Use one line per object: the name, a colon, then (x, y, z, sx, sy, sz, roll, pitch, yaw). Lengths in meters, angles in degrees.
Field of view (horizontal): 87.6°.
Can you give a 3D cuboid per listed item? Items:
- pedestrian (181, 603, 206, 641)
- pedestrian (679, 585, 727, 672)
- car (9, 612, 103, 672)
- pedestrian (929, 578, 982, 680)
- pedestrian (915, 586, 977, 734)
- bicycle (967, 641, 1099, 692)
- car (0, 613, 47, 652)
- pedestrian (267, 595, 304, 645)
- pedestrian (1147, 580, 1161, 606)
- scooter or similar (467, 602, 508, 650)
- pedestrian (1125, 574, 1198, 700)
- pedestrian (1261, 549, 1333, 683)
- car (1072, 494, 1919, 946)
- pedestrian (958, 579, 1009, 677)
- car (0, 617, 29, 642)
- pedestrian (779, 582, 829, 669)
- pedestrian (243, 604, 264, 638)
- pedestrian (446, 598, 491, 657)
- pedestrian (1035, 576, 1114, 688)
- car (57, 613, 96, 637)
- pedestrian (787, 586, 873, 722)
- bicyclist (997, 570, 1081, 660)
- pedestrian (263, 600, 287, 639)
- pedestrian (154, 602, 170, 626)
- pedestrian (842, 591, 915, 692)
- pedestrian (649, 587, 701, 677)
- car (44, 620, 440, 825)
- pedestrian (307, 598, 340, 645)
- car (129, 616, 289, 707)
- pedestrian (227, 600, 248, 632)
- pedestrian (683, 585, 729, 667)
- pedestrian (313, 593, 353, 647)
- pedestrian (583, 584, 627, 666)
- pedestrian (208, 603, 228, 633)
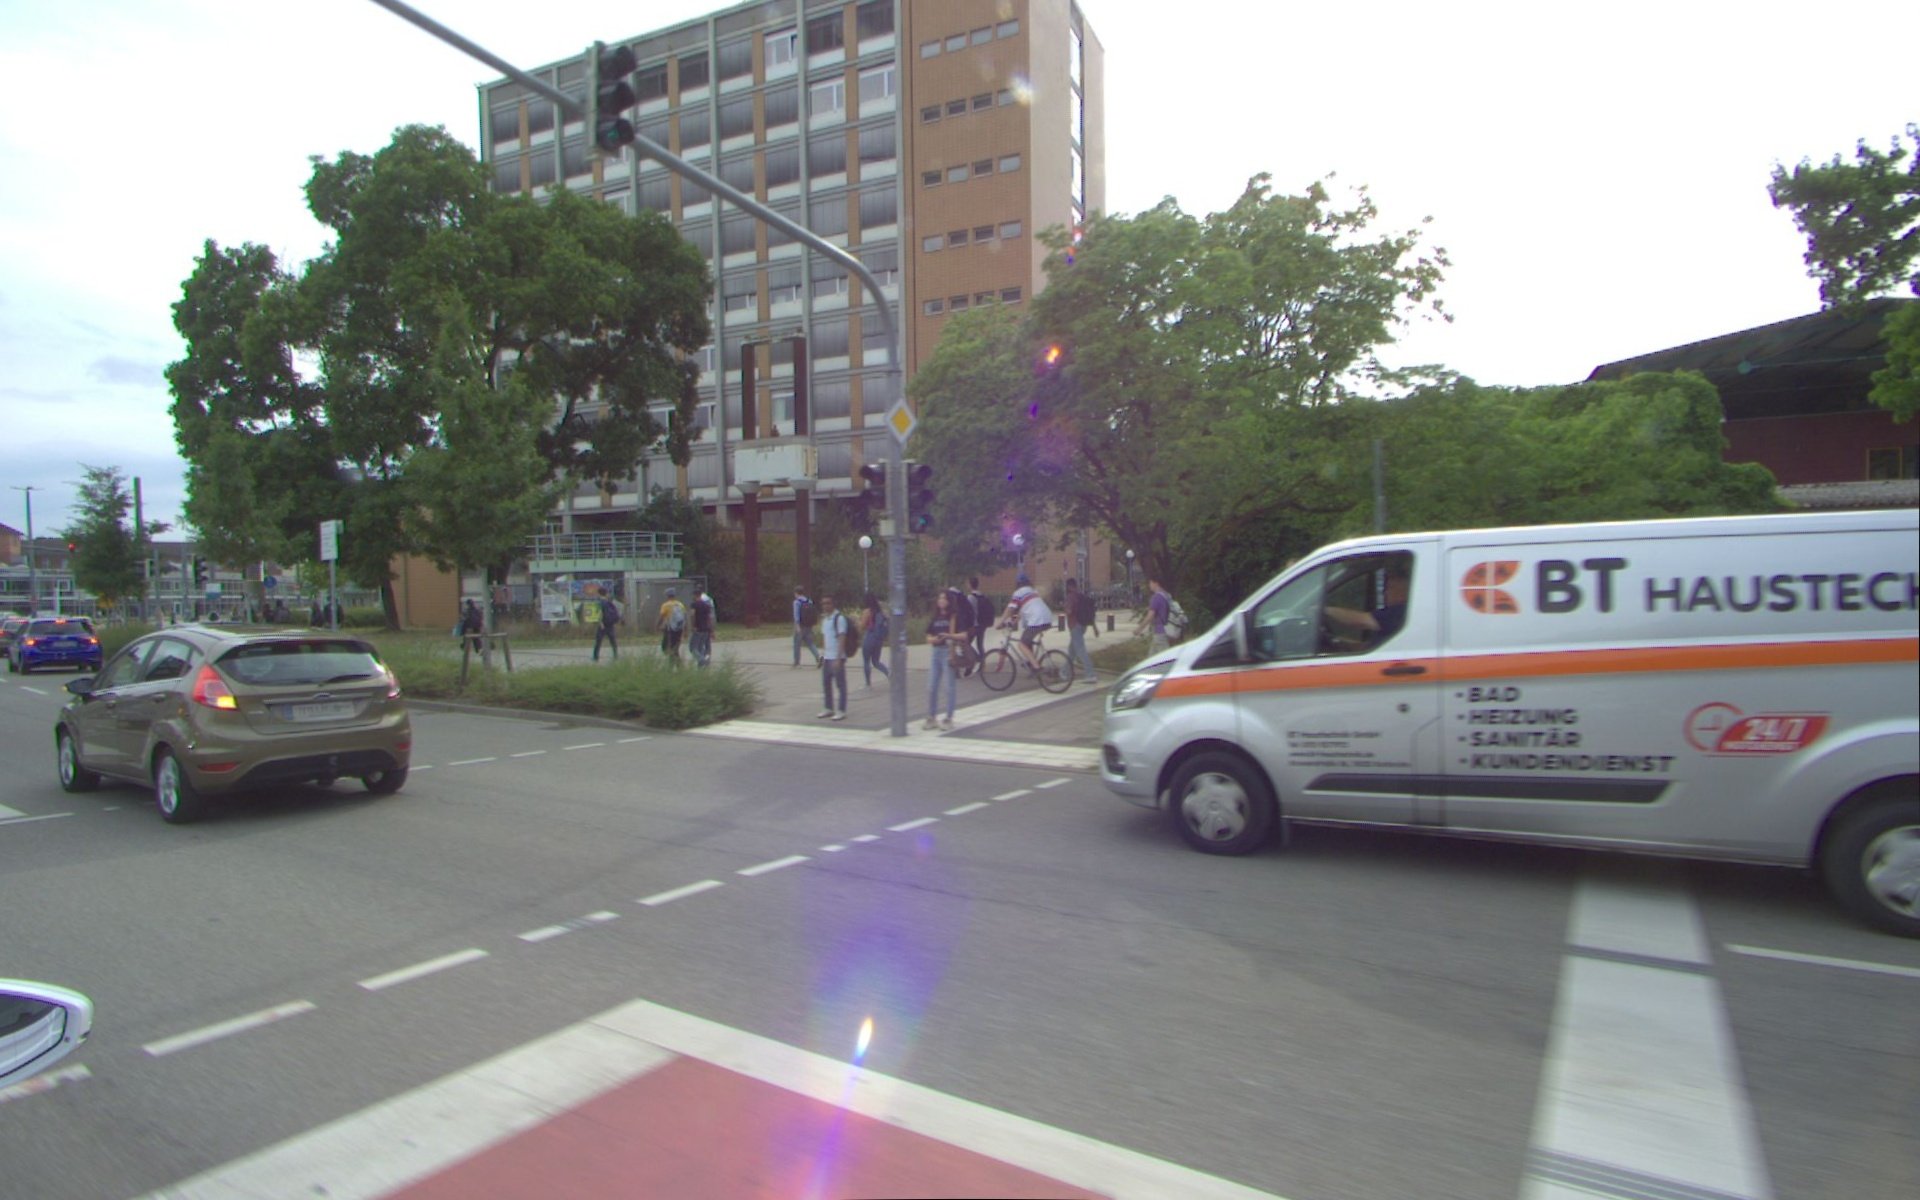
pedestrian: (-33.405, 0.963, 43.647, 0.770, 1.595, 0.806, -3, 2, -35)
pedestrian: (-5.193, 0.574, 20.246, 0.698, 1.733, 0.637, 0, -1, 32)
car: (-25.343, 1.148, 28.073, 1.845, 1.552, 3.965, 1, -2, -43)
pedestrian: (-0.072, 0.501, 17.444, 0.698, 1.733, 0.637, 0, -1, 32)
pedestrian: (-0.166, 0.712, 12.110, 0.580, 1.733, 0.478, 0, -1, 35)
bicycle: (1.094, 0.979, 15.146, 1.819, 0.703, 0.839, -1, -1, 33)
car: (-37.120, 1.262, 39.064, 2.119, 1.438, 3.664, 1, -2, -44)
pedestrian: (-24.193, 0.719, 35.908, 1.013, 1.733, 0.776, -1, -1, 32)
pedestrian: (13.146, -0.495, 67.839, 0.632, 1.734, 0.703, 0, 1, 37)
scooter or similar: (-13.977, 0.776, 29.612, 1.128, 1.388, 0.398, 0, -1, 20)
pedestrian: (2.898, 0.524, 14.383, 0.788, 1.733, 0.835, -1, -1, 32)
pedestrian: (4.806, 0.237, 14.271, 0.788, 1.832, 0.835, 0, -1, 32)
car: (3.380, 0.567, 5.904, 5.126, 1.985, 1.818, -1, -1, 29)
pedestrian: (0.428, 0.505, 18.047, 0.698, 1.733, 0.637, 0, -1, 32)
car: (-58.162, 1.797, 61.203, 1.698, 1.438, 3.966, 1, -2, -40)
pedestrian: (-3.170, 0.511, 20.399, 0.698, 1.734, 0.636, 0, 3, 32)
pedestrian: (-34.436, 0.997, 48.801, 0.770, 1.595, 0.806, -3, 2, -35)
pedestrian: (-13.629, 0.761, 27.774, 0.800, 1.595, 0.776, -1, 2, 32)
pedestrian: (1.845, 0.510, 16.122, 0.998, 1.733, 0.835, -1, -1, 32)
car: (-54.651, 1.572, 61.983, 1.691, 1.438, 3.669, 1, -2, -40)
pedestrian: (-1.735, 0.708, 13.379, 0.828, 1.733, 0.795, -1, -1, 35)
bicyclist: (1.195, 0.231, 15.080, 0.998, 1.294, 0.835, -1, -1, 32)
pedestrian: (-28.684, 0.815, 41.947, 0.770, 1.595, 0.806, -3, 2, -35)
pedestrian: (-55.965, 0.983, 70.219, 0.770, 1.595, 0.806, -3, 2, -35)
pedestrian: (-1.316, 0.657, 16.311, 0.788, 1.564, 0.834, -1, 3, 32)
pedestrian: (-5.604, 0.619, 19.671, 0.698, 1.734, 0.636, 0, 2, 32)
car: (-6.310, 0.900, 8.705, 3.650, 1.423, 1.691, -1, -1, 35)
pedestrian: (-23.653, 0.803, 37.198, 0.800, 1.733, 0.776, -1, -1, 32)
car: (-14.102, 1.088, 18.749, 3.592, 1.527, 1.659, -1, -2, 40)
pedestrian: (-36.140, 0.794, 50.109, 0.770, 1.595, 0.806, -3, 2, -35)
pedestrian: (-5.461, 0.551, 21.546, 0.698, 1.734, 0.636, 0, 1, 32)
pedestrian: (-20.531, 0.662, 32.790, 1.013, 1.733, 0.776, -1, -1, 32)
pedestrian: (-8.318, 0.575, 23.462, 0.698, 1.877, 0.636, 0, 1, 32)
pedestrian: (-40.897, 0.989, 55.197, 0.770, 1.595, 0.806, -3, 2, -35)
